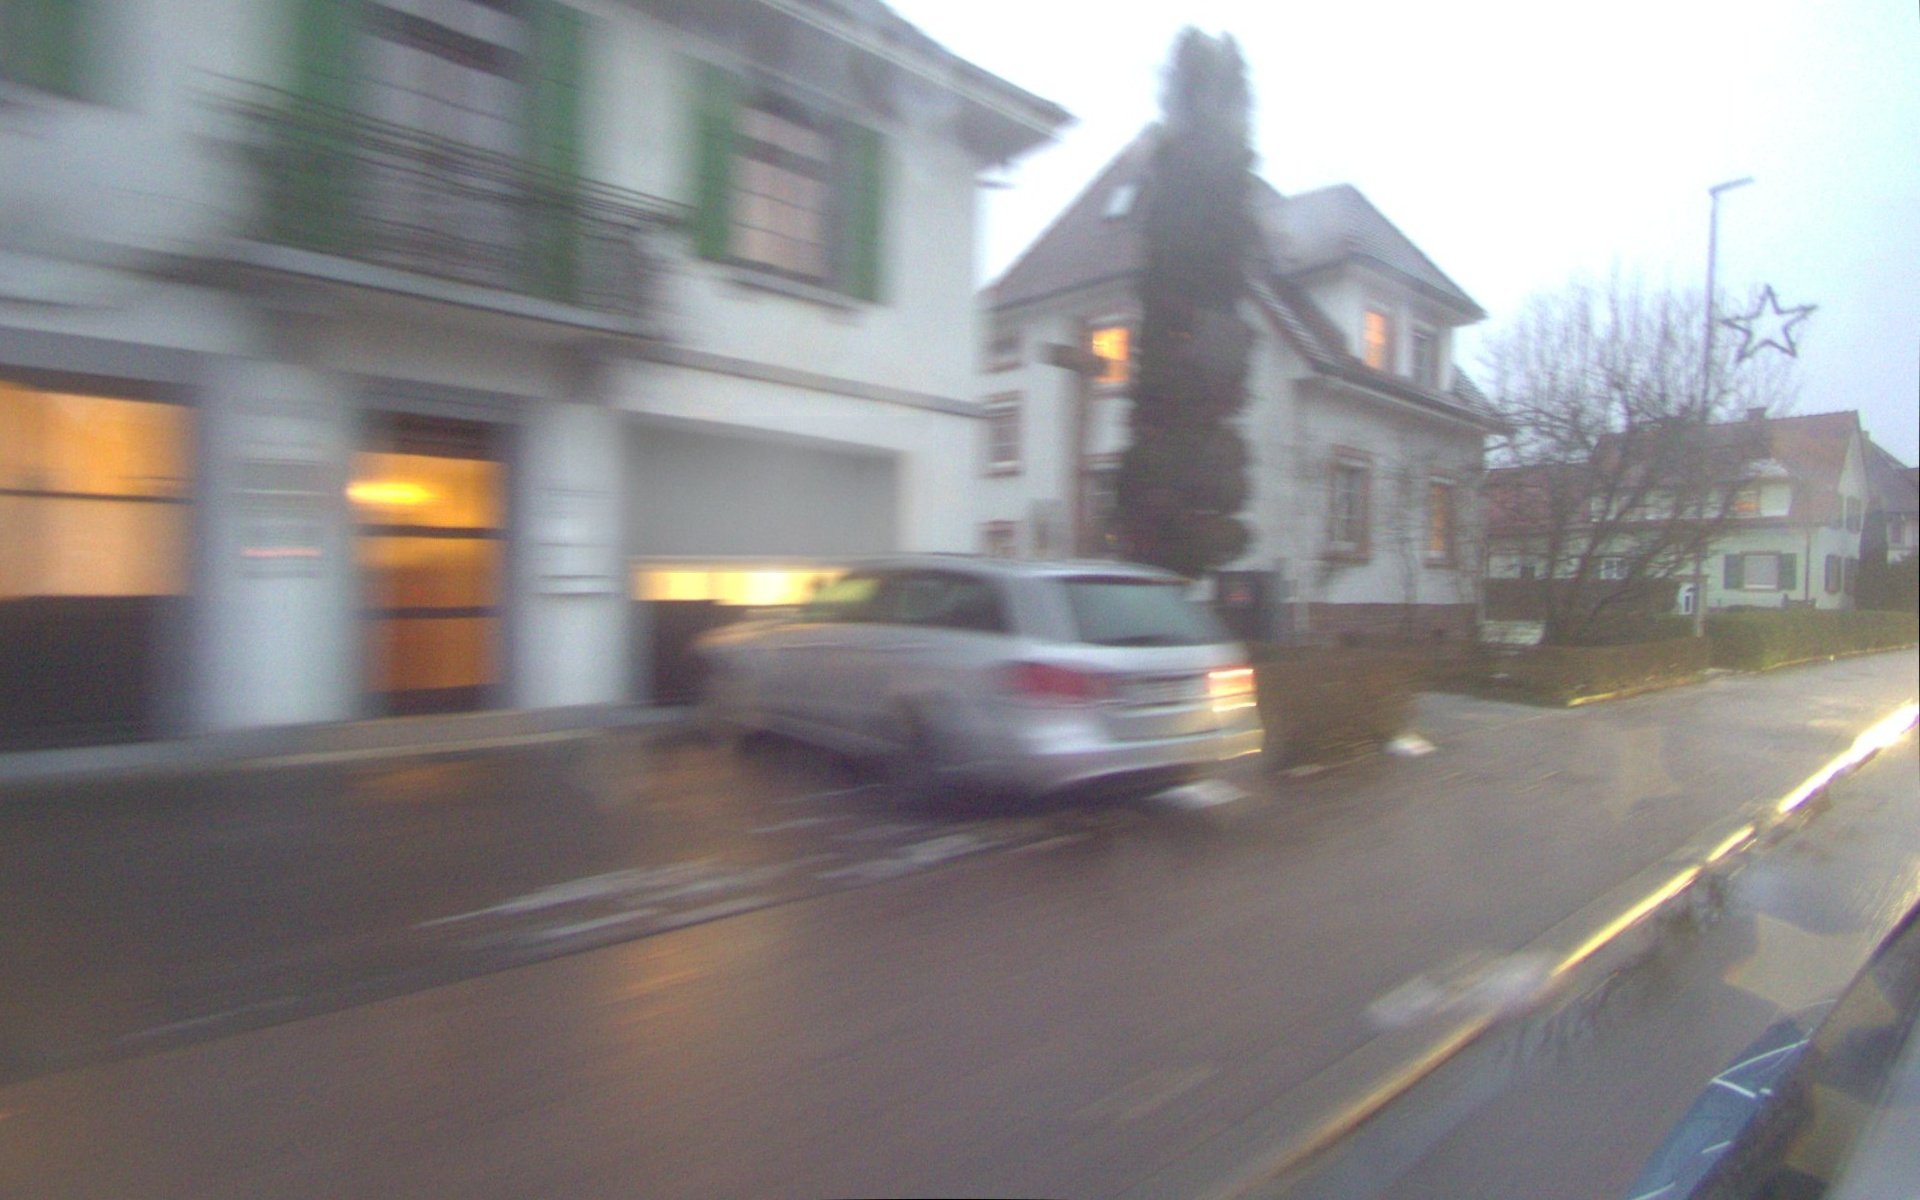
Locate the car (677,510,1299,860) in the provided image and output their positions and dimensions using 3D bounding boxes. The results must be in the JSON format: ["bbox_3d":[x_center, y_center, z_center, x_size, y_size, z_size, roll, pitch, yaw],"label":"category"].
[{"bbox_3d":[-0.215,0.311,7.230,1.871,1.649,4.749,1,2,-37],"label":"car"}]
